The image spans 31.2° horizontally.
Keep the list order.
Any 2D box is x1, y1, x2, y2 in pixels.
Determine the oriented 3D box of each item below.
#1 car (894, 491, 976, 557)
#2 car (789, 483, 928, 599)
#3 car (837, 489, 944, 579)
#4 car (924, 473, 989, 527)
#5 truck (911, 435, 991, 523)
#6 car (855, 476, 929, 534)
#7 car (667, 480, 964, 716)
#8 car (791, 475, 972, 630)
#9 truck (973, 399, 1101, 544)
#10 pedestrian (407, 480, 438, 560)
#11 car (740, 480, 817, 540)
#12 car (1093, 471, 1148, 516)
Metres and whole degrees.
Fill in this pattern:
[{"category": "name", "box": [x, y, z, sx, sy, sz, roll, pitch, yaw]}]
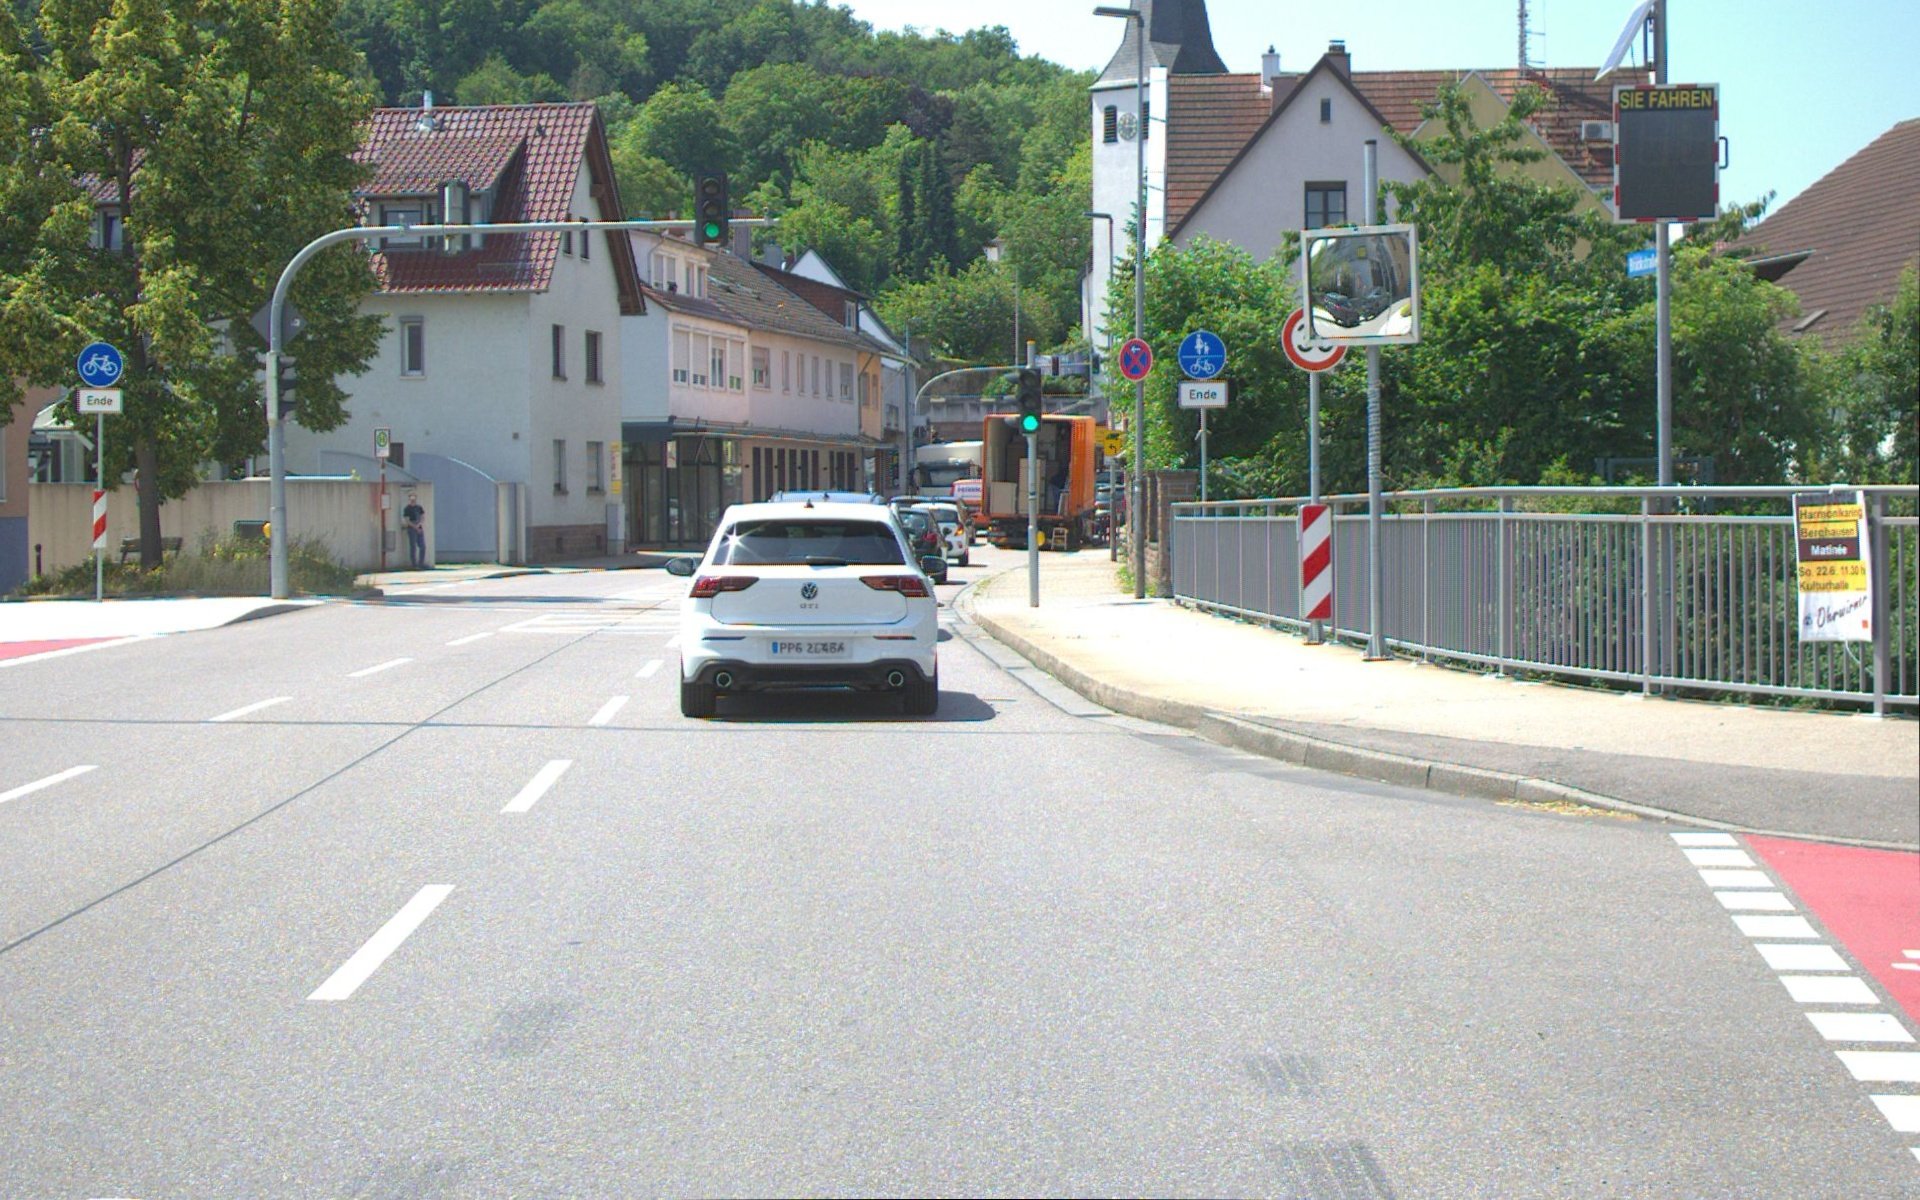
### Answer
[{"category": "car", "box": [-0.587, -1.831, 83.207, 1.815, 1.514, 4.000, -1, 1, 2]}, {"category": "car", "box": [-1.482, -0.891, 51.576, 1.815, 1.623, 4.000, -1, 1, 2]}, {"category": "car", "box": [-1.294, -1.265, 65.549, 1.815, 1.623, 4.000, -1, 1, 2]}, {"category": "car", "box": [-0.080, -3.314, 114.076, 1.993, 1.699, 4.312, -1, 1, 2]}, {"category": "truck", "box": [-0.318, -4.589, 131.681, 2.502, 3.224, 6.039, -1, 1, 4]}, {"category": "car", "box": [-1.851, -2.602, 94.656, 1.815, 1.514, 4.000, -1, 1, 2]}, {"category": "car", "box": [-0.946, -0.052, 24.461, 1.815, 1.514, 4.000, 1, 1, 2]}, {"category": "car", "box": [-0.838, -0.554, 39.068, 1.815, 1.623, 4.000, -1, 1, 2]}, {"category": "truck", "box": [2.442, -3.850, 105.207, 3.367, 4.155, 9.518, -1, 1, 4]}, {"category": "pedestrian", "box": [-11.858, -1.760, 75.847, 0.434, 1.758, 0.556, 0, 2, 21]}, {"category": "car", "box": [-5.075, -2.520, 96.564, 1.815, 1.644, 4.000, 1, 1, 2]}, {"category": "car", "box": [5.601, -3.710, 120.344, 1.815, 1.514, 4.000, -1, 1, 2]}]
